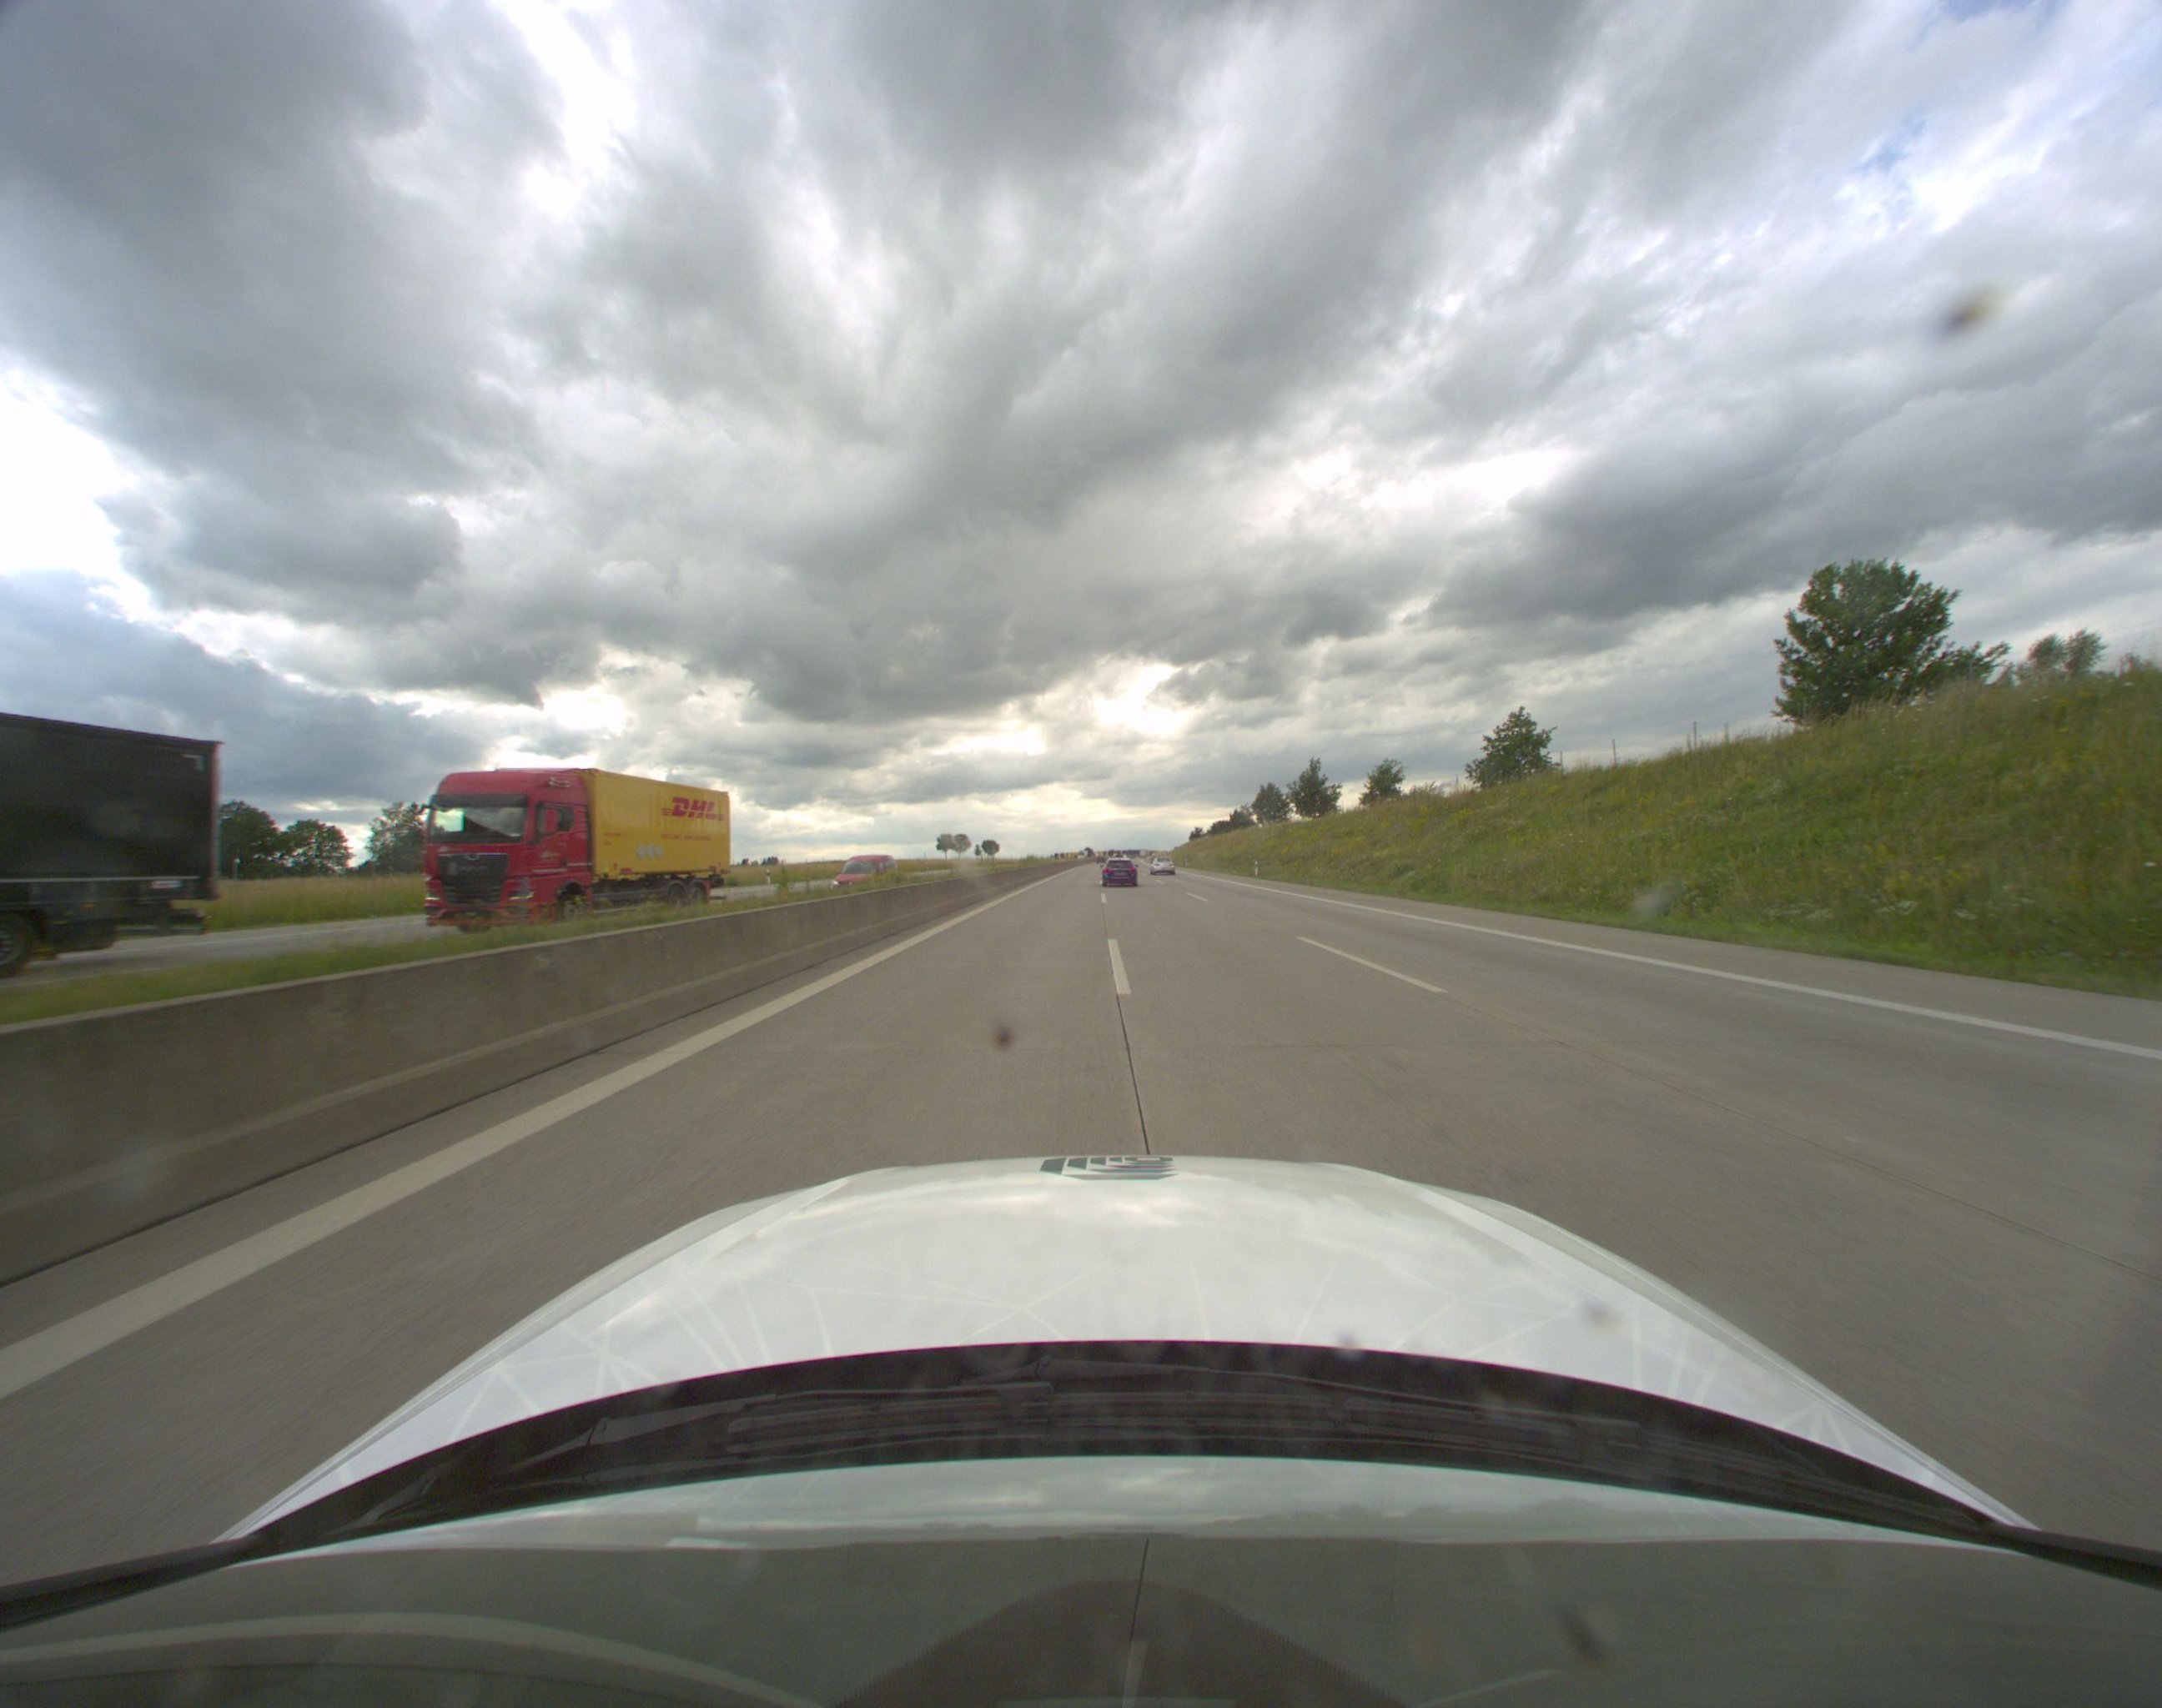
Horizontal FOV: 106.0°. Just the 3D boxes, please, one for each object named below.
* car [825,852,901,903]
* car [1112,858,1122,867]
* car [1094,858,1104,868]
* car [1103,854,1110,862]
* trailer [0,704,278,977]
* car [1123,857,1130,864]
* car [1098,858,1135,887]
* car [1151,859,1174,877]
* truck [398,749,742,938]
[{"bbox_3d":[-9.113,0.972,34.548,1.807,1.962,5.339,0,-1,0],"label":"car"},{"bbox_3d":[7.601,1.796,170.653,1.986,2.014,4.000,0,-1,1],"label":"car"},{"bbox_3d":[3.611,1.819,167.589,2.039,2.014,4.000,0,-1,0],"label":"car"},{"bbox_3d":[6.888,1.079,220.985,1.987,2.014,4.000,0,-1,0],"label":"car"},{"bbox_3d":[-17.424,-0.176,9.130,2.829,4.038,13.909,-1,0,1],"label":"trailer"},{"bbox_3d":[14.706,2.036,262.064,1.984,2.014,4.006,0,-1,5],"label":"car"},{"bbox_3d":[1.874,0.929,41.761,1.767,1.413,4.003,-1,-1,3],"label":"car"},{"bbox_3d":[6.545,1.141,65.873,1.780,1.403,4.227,-1,-1,5],"label":"car"},{"bbox_3d":[-13.251,-0.217,22.900,2.806,4.038,10.569,-1,0,1],"label":"truck"}]
